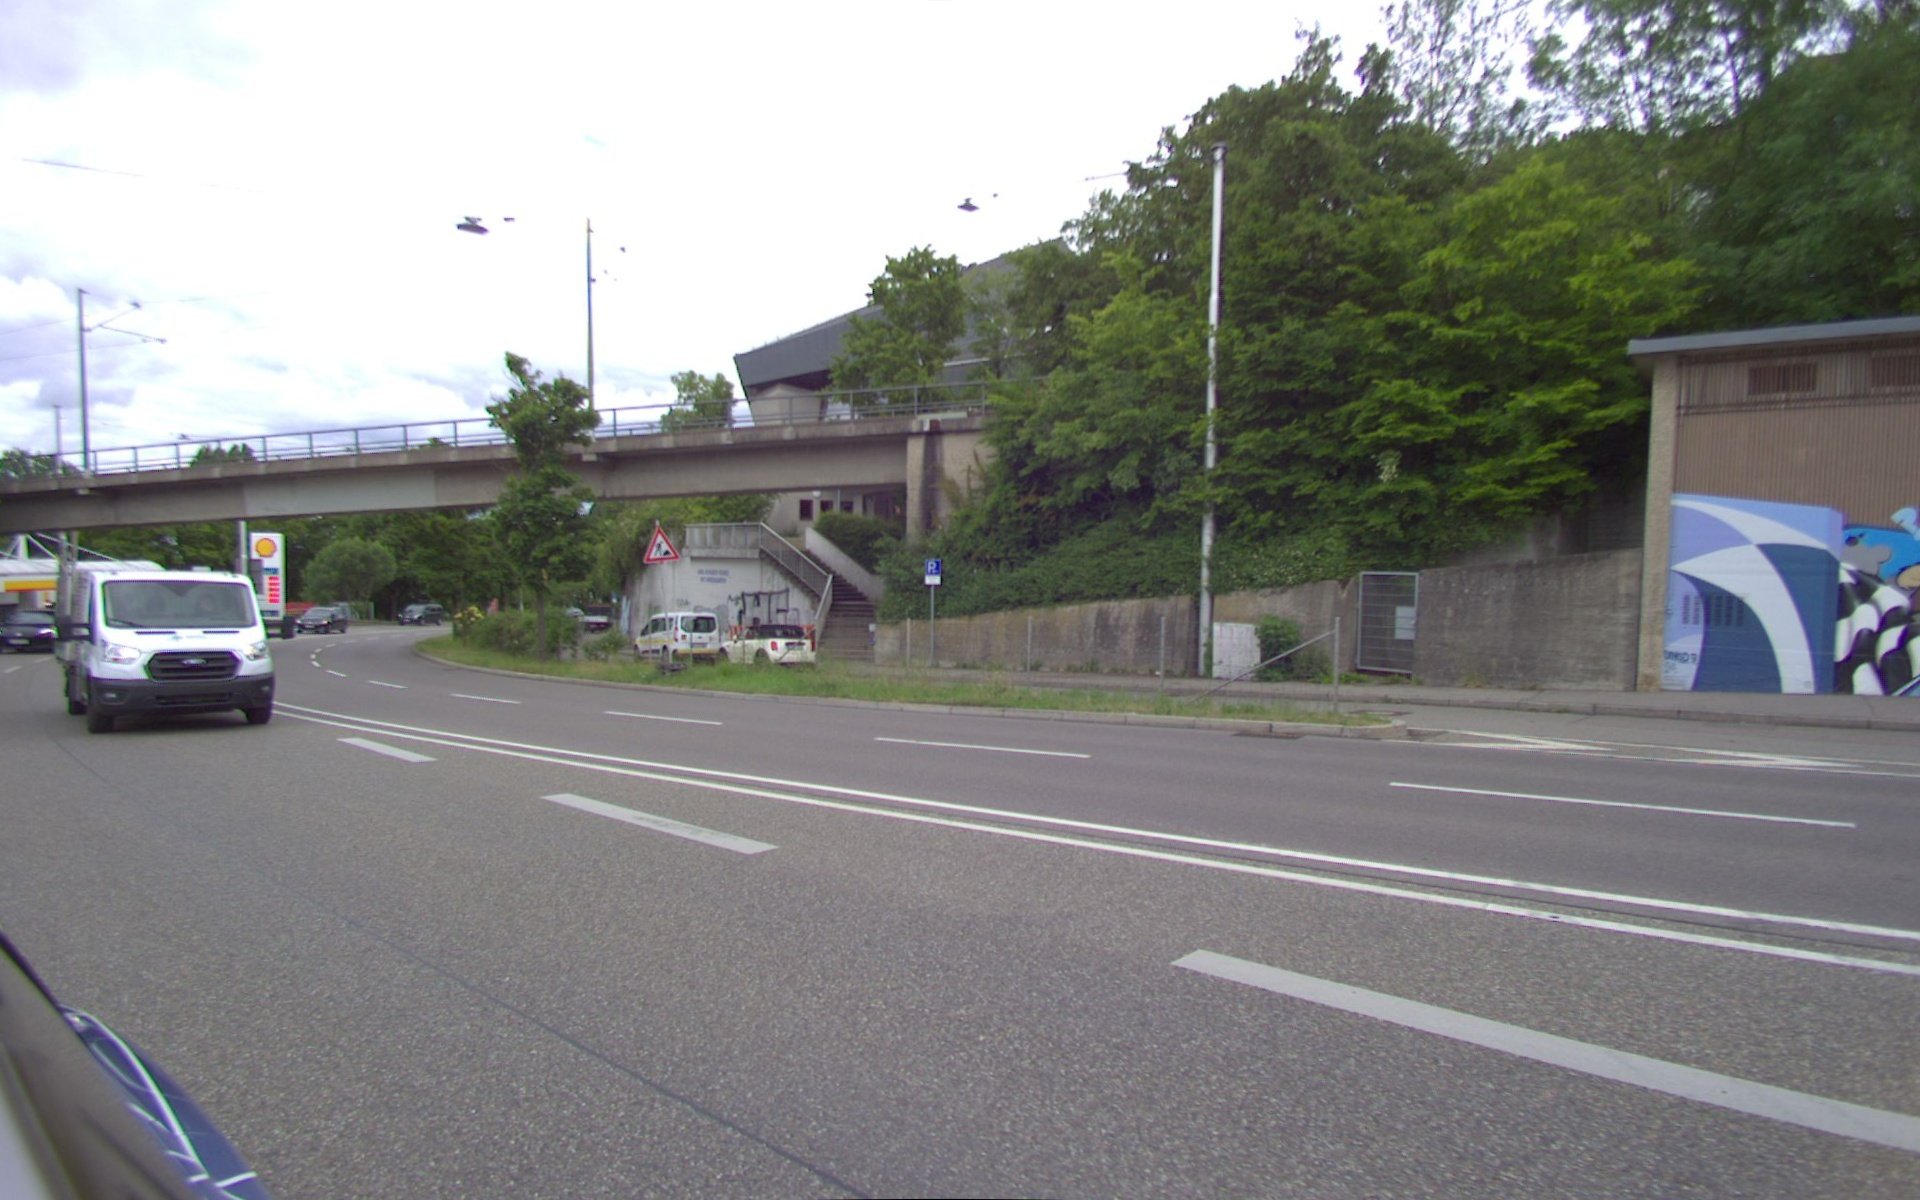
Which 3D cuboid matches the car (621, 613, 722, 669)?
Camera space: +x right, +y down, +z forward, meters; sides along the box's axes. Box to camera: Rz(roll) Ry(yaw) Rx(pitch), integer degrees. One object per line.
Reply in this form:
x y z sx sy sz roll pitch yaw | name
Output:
-9.999 1.385 34.908 1.743 1.799 4.474 3 -3 -38 | car

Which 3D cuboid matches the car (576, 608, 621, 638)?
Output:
-29.351 1.832 82.325 2.238 2.290 6.339 2 -1 -9 | car

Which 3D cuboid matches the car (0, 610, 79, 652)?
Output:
-33.214 1.087 36.576 1.706 1.421 4.009 1 -1 -36 | car

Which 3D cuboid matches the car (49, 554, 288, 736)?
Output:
-11.968 0.592 15.083 6.271 2.190 1.971 -1 -2 45 | car

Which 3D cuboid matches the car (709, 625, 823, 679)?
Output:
-5.762 1.479 29.718 1.743 1.430 3.811 2 -2 -38 | car

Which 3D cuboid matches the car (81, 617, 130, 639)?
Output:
-70.625 2.305 83.623 4.086 1.446 1.707 3 2 28 | car

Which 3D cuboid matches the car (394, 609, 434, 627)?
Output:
-47.620 1.577 88.303 1.704 1.489 4.006 0 -1 -6 | car

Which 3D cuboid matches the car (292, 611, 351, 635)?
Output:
-40.067 1.432 63.606 1.703 1.489 4.008 0 -1 -10 | car
